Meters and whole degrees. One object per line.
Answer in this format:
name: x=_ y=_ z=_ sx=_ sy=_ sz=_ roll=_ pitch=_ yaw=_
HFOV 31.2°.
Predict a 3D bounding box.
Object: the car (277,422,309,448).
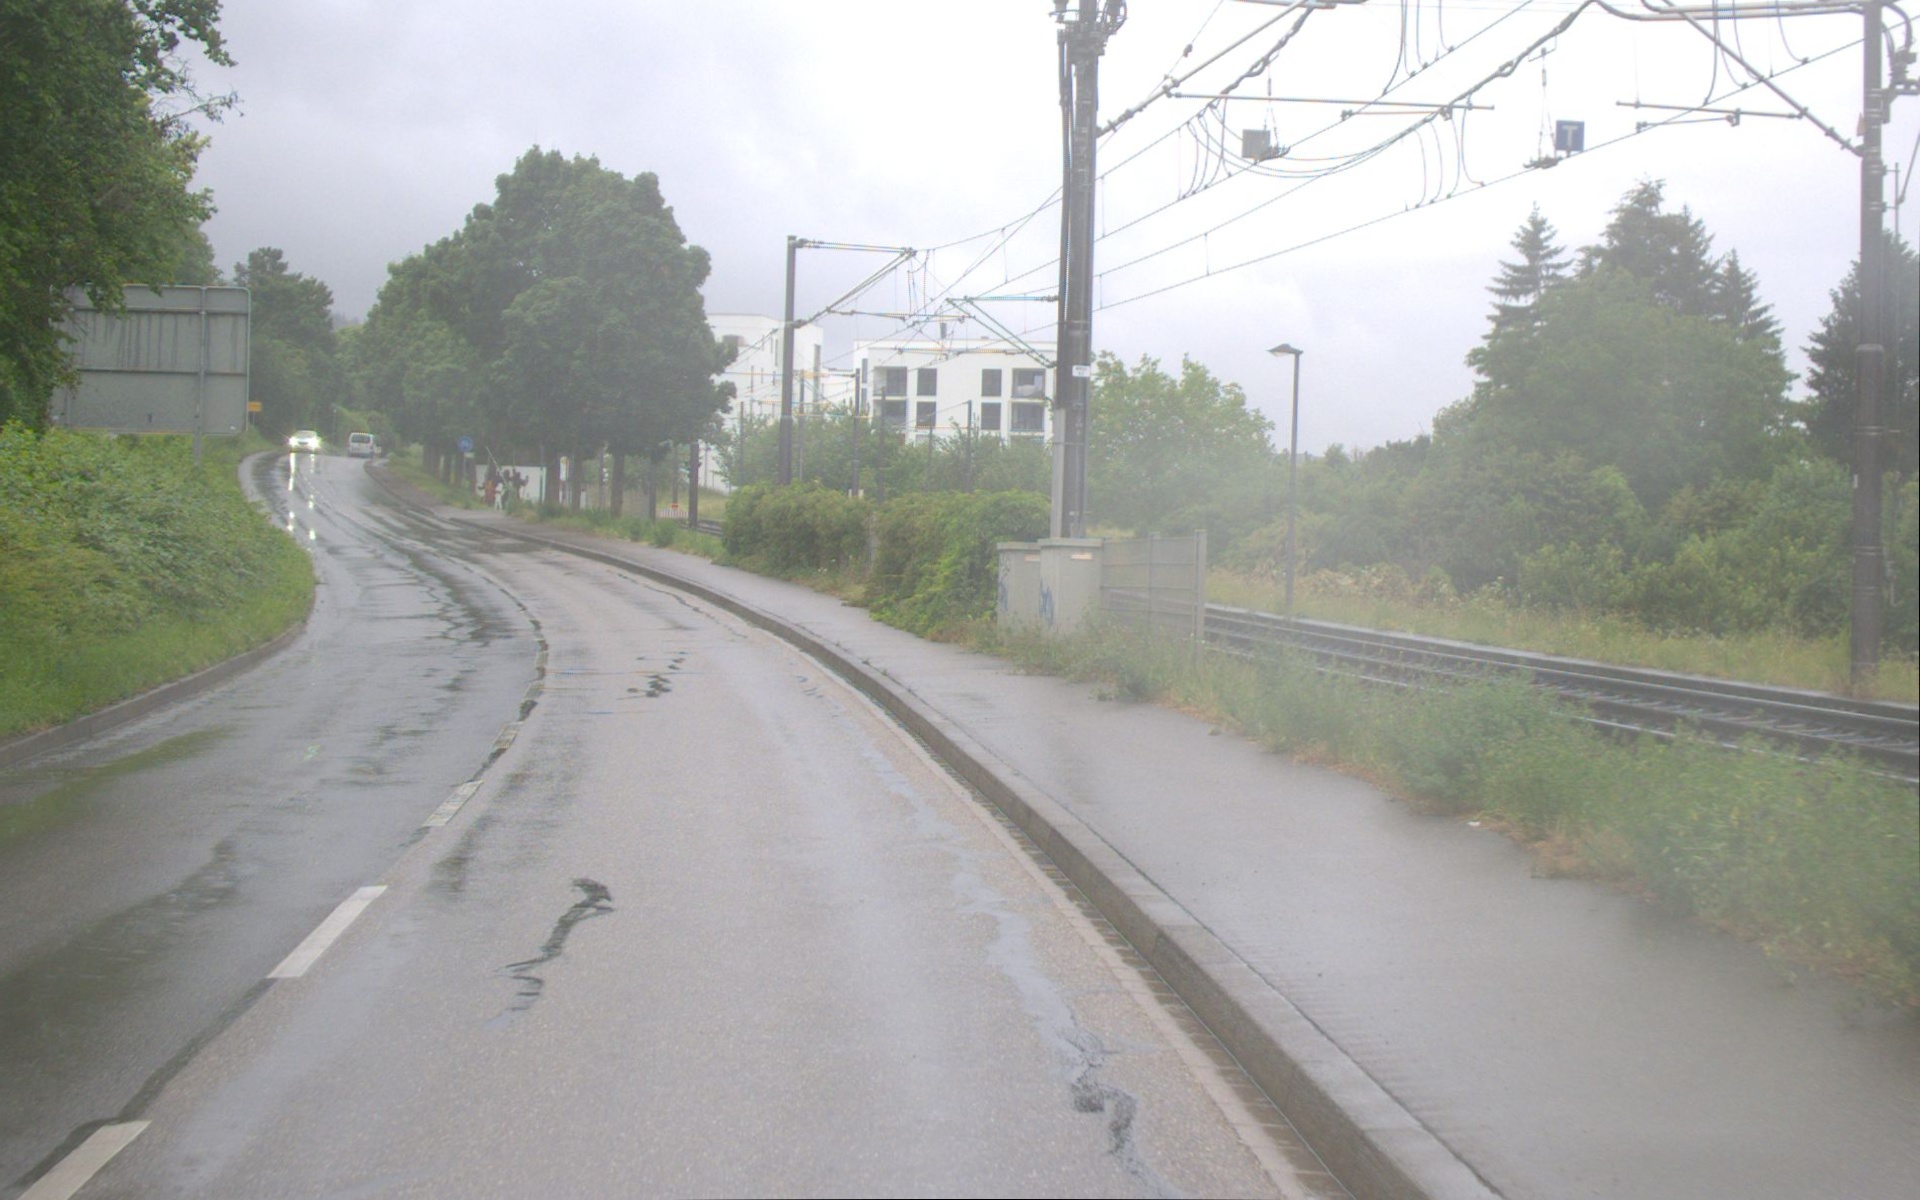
car: x=-44.235 y=-10.953 z=228.045 sx=1.744 sy=1.606 sz=4.089 roll=2 pitch=3 yaw=-7
